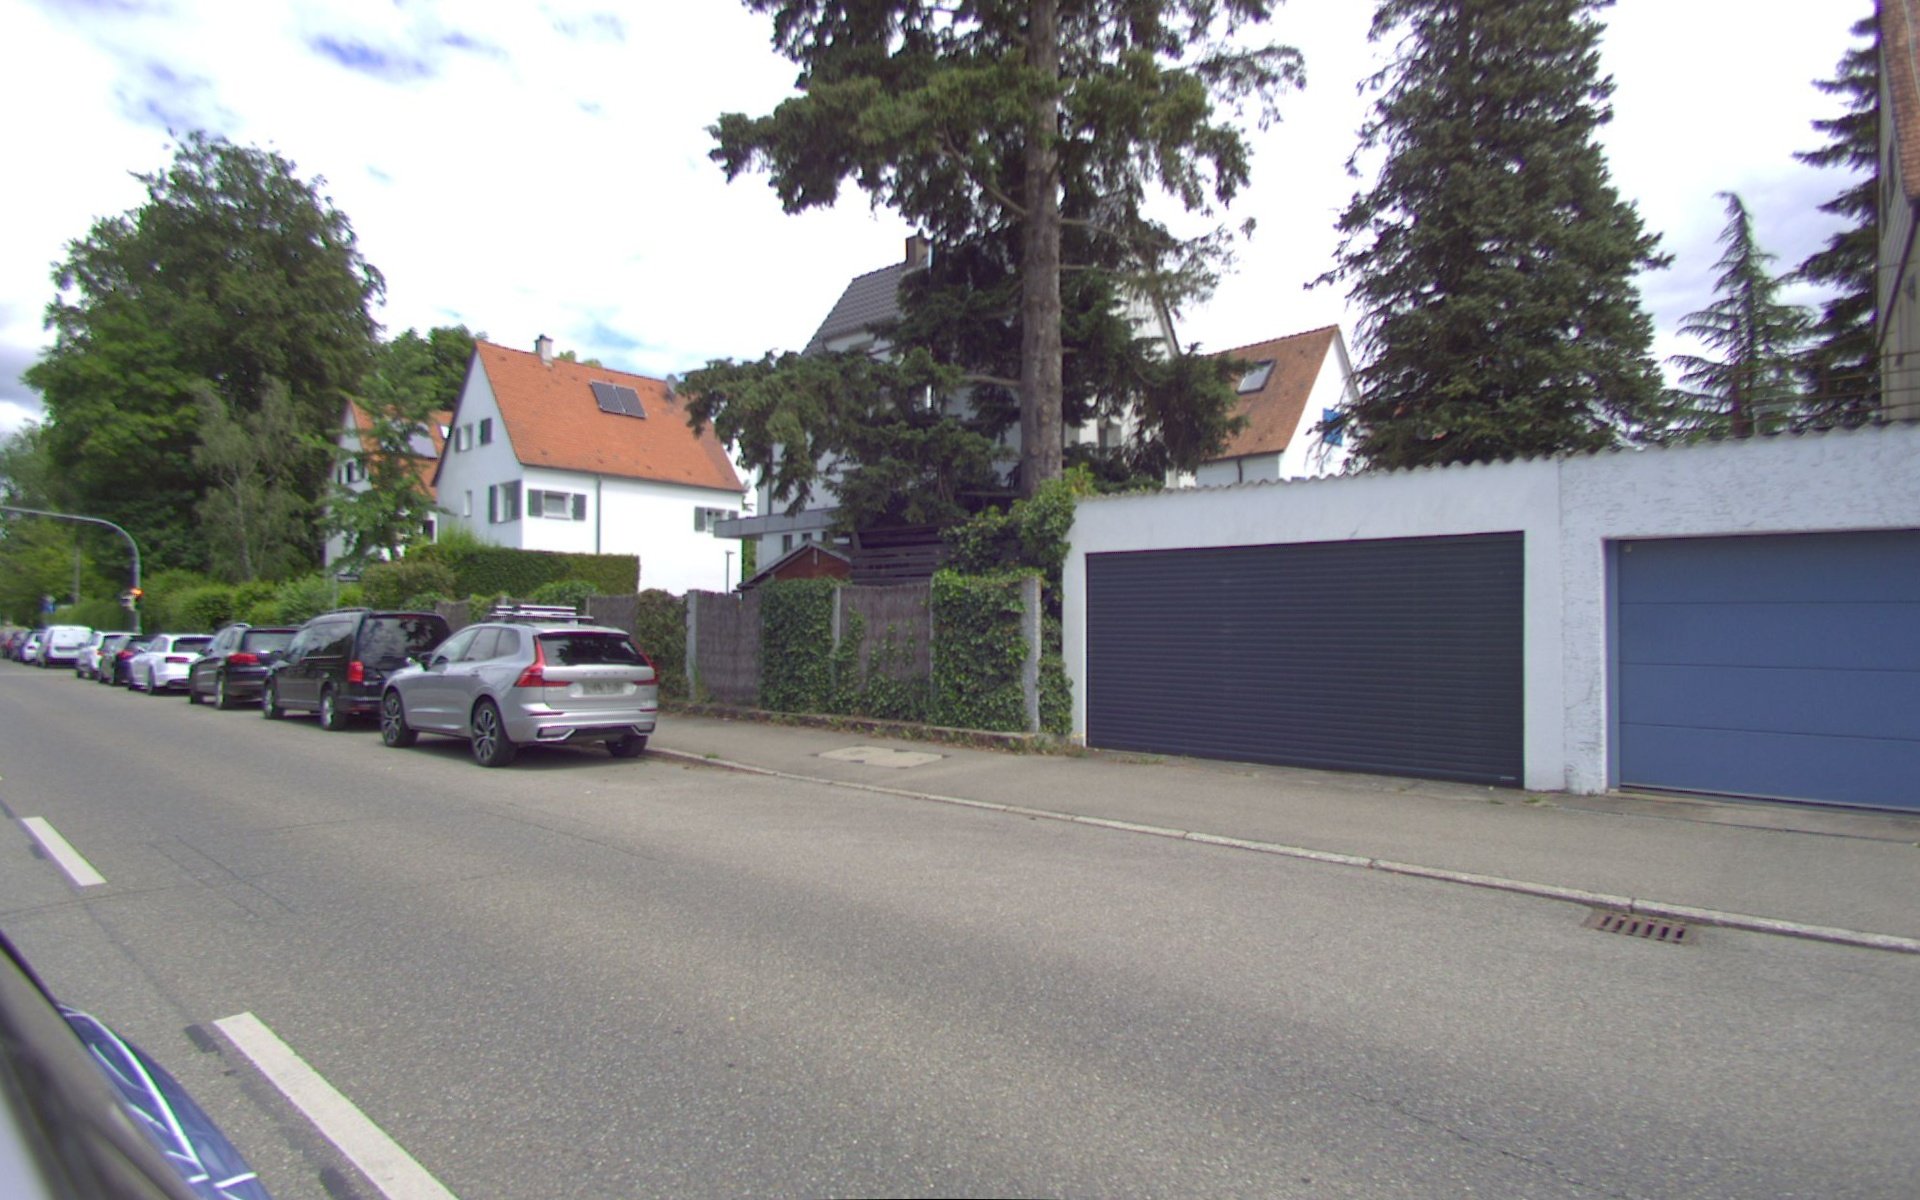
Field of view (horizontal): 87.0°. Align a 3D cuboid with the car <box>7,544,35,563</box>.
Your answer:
[{"bbox_3d":[-85.643,-4.230,92.340,1.652,1.381,3.611,3,-4,-41],"label":"car"}]

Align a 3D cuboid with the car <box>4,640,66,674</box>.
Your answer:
[{"bbox_3d":[-46.742,2.847,51.132,4.642,1.606,1.876,-3,-3,42],"label":"car"}]

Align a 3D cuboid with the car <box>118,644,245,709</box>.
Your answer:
[{"bbox_3d":[-19.693,1.871,25.501,5.070,1.470,1.785,-3,-5,44],"label":"car"}]

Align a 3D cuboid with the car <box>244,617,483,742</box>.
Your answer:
[{"bbox_3d":[-10.126,1.229,17.009,4.881,1.768,2.045,-2,-1,41],"label":"car"}]

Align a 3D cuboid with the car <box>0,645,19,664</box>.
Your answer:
[{"bbox_3d":[-73.462,4.160,77.468,4.067,1.413,1.944,-3,-3,45],"label":"car"}]

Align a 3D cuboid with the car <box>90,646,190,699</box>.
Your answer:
[{"bbox_3d":[-23.795,2.064,29.302,4.325,1.421,1.723,-3,-5,45],"label":"car"}]

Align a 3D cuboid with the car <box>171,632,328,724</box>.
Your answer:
[{"bbox_3d":[-14.730,1.567,20.891,4.582,1.691,1.609,-3,-5,42],"label":"car"}]

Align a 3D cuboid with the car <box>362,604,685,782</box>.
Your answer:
[{"bbox_3d":[-5.649,1.058,12.797,4.706,1.833,1.964,-3,-3,42],"label":"car"}]

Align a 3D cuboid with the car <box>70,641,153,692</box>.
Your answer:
[{"bbox_3d":[-27.819,2.161,33.143,3.744,1.555,1.683,-3,-5,44],"label":"car"}]

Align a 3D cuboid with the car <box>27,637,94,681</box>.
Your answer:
[{"bbox_3d":[-38.755,2.527,43.569,4.607,1.772,1.658,-3,-5,43],"label":"car"}]

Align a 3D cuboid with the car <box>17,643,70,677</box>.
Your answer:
[{"bbox_3d":[-42.697,2.780,47.124,1.684,1.464,4.361,5,-6,-43],"label":"car"}]

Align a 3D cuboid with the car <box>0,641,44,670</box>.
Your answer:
[{"bbox_3d":[-54.419,3.185,58.434,4.415,1.623,1.771,-3,-3,42],"label":"car"}]
